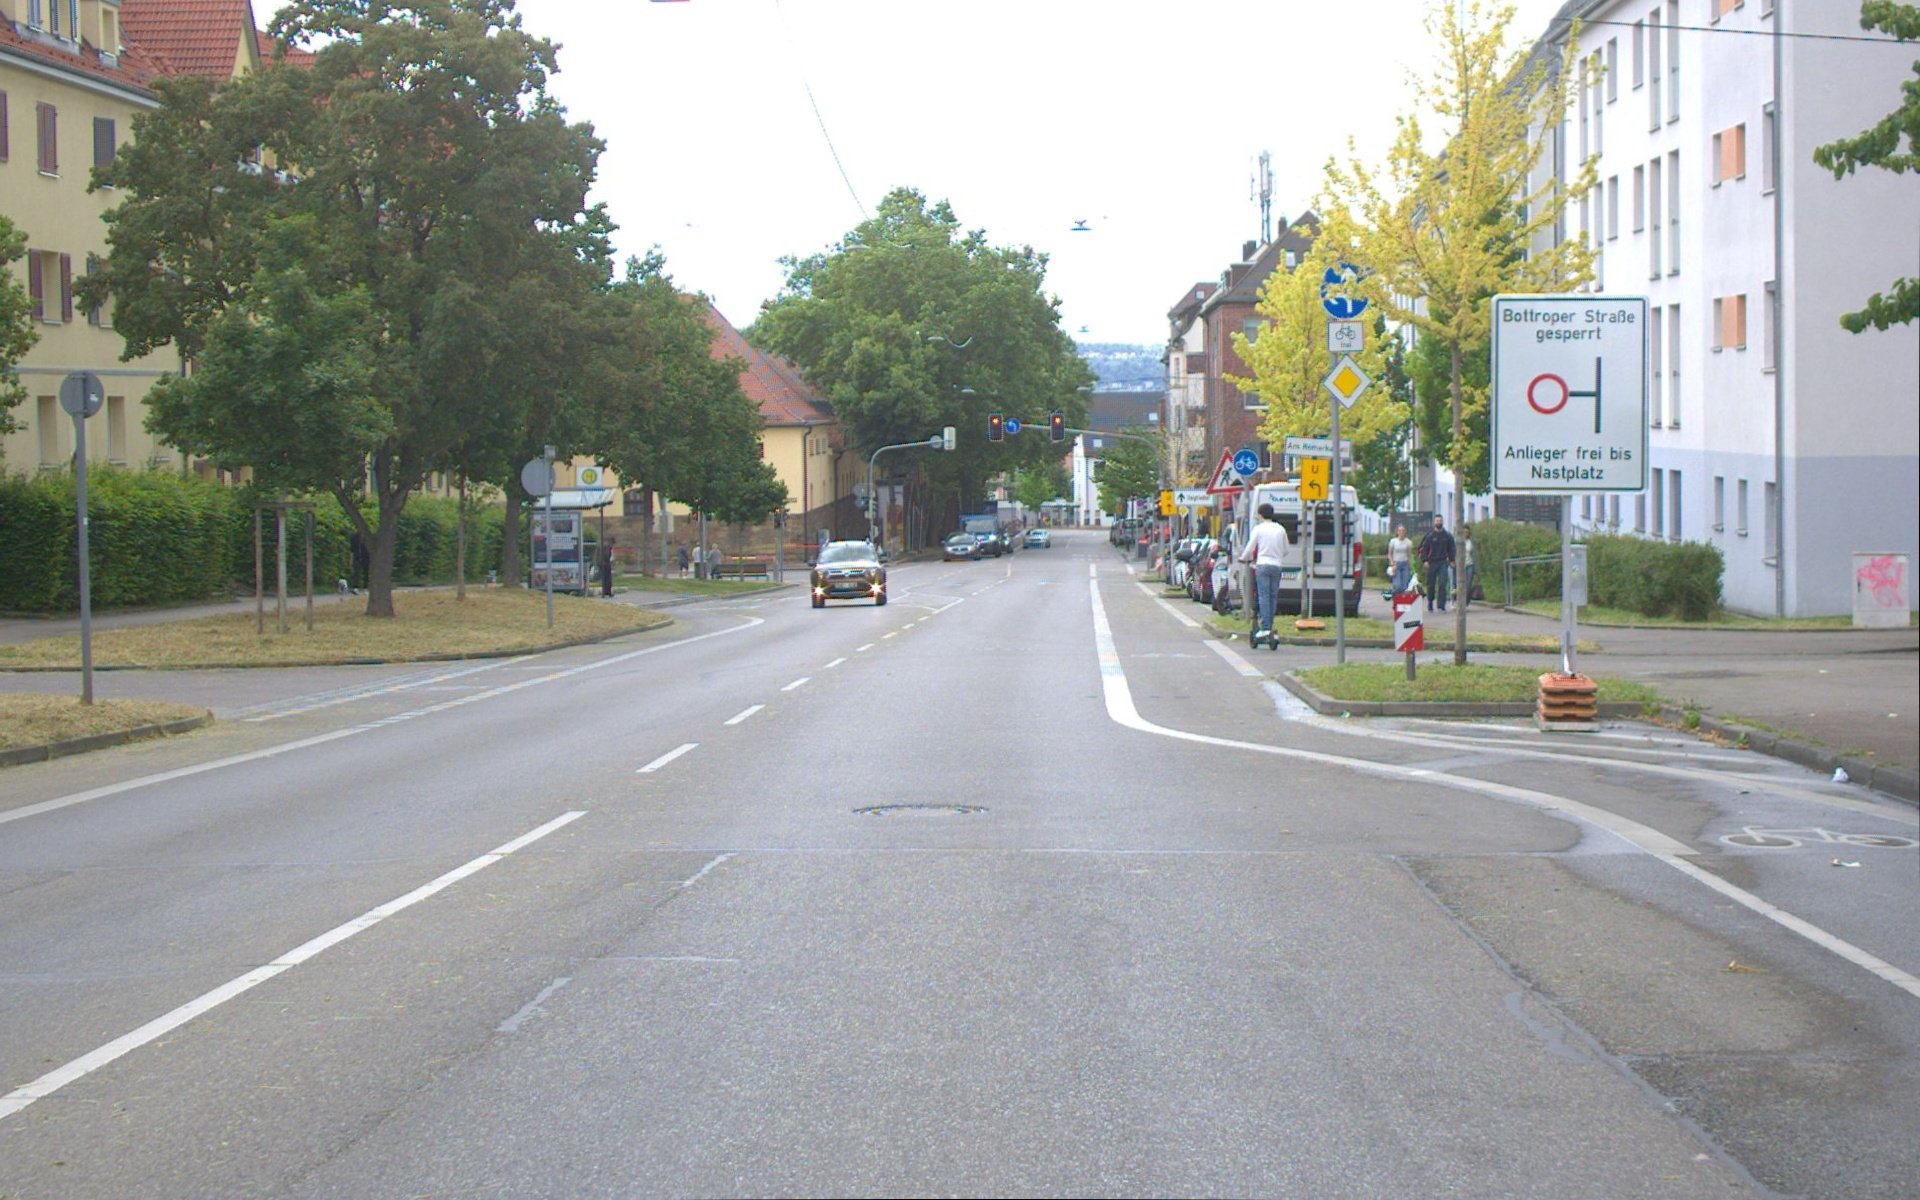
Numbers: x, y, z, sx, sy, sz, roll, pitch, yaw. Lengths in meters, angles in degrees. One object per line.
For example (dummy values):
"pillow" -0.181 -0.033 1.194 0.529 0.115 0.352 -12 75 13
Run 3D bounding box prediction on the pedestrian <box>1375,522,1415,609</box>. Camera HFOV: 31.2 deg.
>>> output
"pedestrian" 8.277 -0.650 65.378 0.576 1.638 0.562 -1 0 -12

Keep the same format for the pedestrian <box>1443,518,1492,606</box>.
"pedestrian" 9.539 -0.725 64.649 0.656 1.599 0.575 -5 2 -7

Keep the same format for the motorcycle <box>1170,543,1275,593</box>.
"motorcycle" 6.688 -0.817 87.723 2.597 1.274 0.753 0 1 -2

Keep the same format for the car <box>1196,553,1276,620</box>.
"car" 6.756 -0.352 84.428 1.680 1.539 4.339 0 1 1

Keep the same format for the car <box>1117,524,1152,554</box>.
"car" 11.663 -4.090 229.967 1.993 1.929 4.919 0 1 -1

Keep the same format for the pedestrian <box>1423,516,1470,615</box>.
"pedestrian" 9.321 -0.666 65.918 0.670 1.880 0.620 -1 0 -15

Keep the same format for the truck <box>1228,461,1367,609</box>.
"truck" 6.092 -1.204 62.631 2.052 2.556 5.690 0 1 1

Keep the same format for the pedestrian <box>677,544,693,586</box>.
"pedestrian" -11.577 -1.477 144.725 0.564 1.771 0.717 0 1 2

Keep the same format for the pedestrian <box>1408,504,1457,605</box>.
"pedestrian" 8.832 -0.845 64.288 0.670 1.880 0.766 -1 0 -10

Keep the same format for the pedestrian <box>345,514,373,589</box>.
"pedestrian" -14.284 -1.167 81.736 0.513 1.773 0.753 0 1 2

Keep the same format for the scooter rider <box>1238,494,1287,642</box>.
"scooter rider" 4.144 -0.445 47.156 0.625 2.007 0.758 0 1 1

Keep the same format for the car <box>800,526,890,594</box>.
"car" -2.811 -0.998 84.879 1.899 1.614 4.361 0 1 3

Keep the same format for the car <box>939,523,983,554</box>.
"car" 0.060 -3.086 171.661 1.756 1.467 4.306 -1 1 5

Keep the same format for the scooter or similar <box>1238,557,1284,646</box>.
"scooter or similar" 4.113 0.012 47.053 0.490 1.159 2.075 0 1 1

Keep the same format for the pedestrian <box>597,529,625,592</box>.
"pedestrian" -9.573 -1.096 94.355 0.597 1.721 0.861 1 1 5
